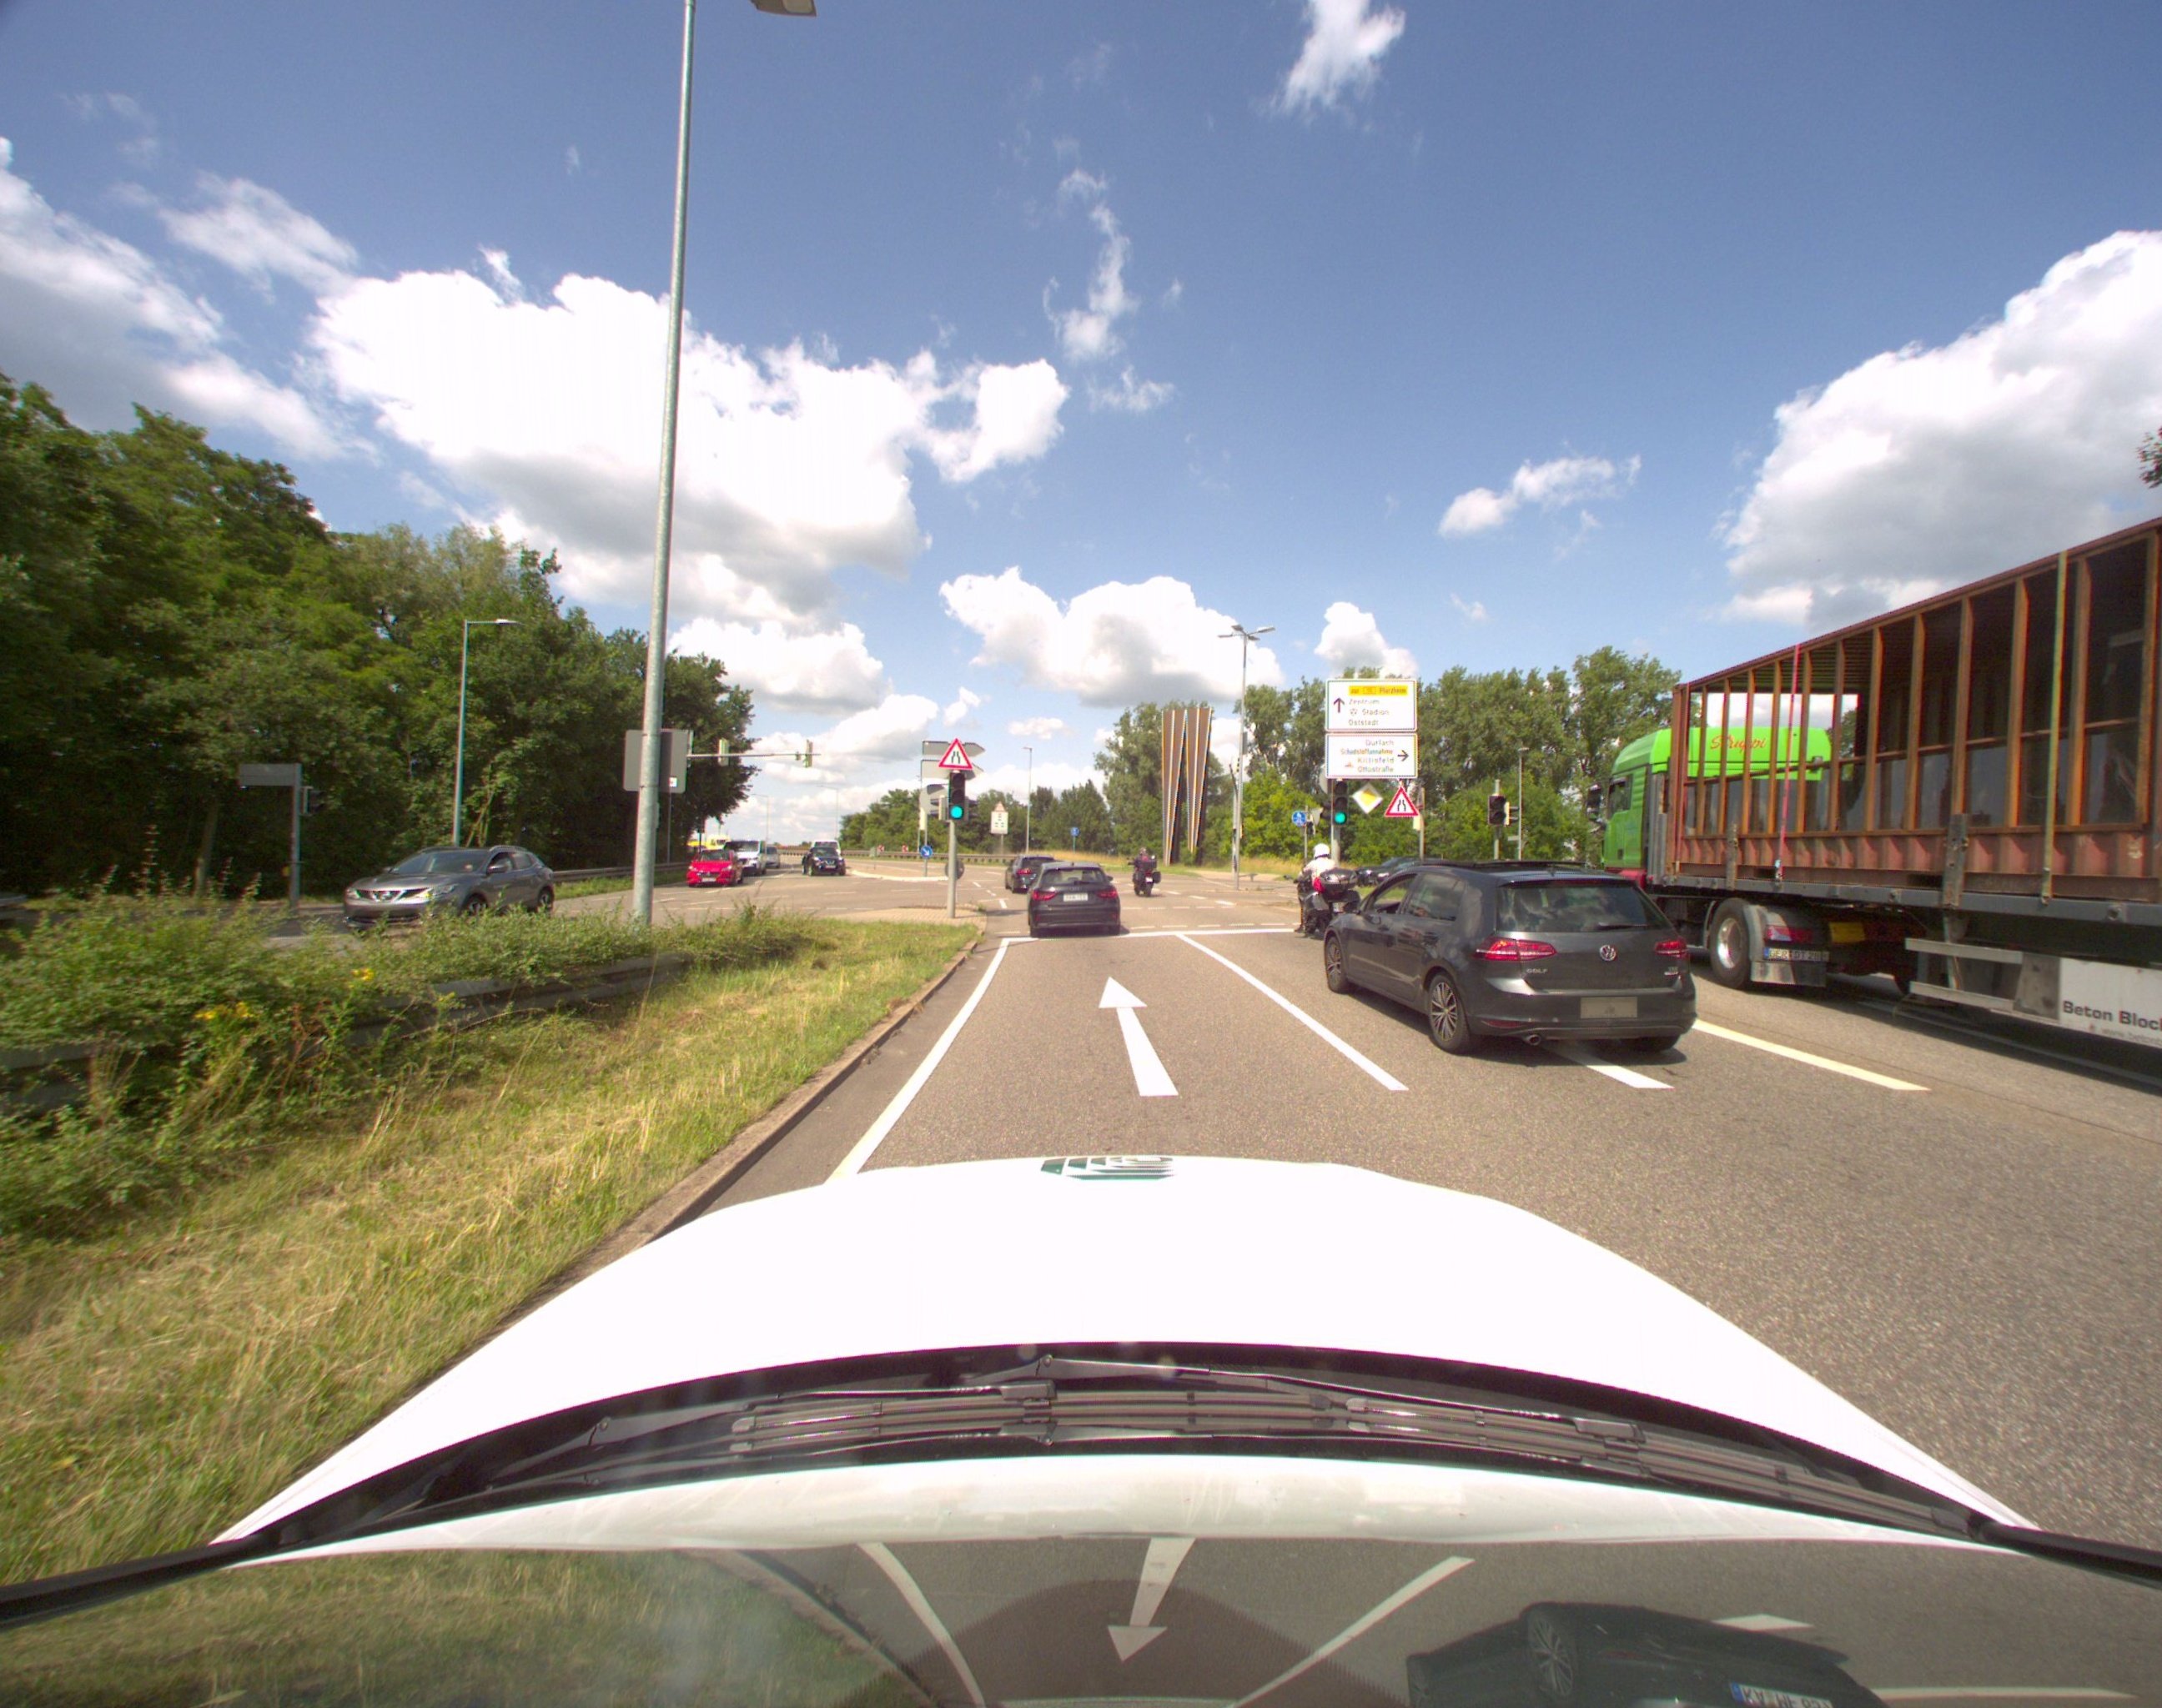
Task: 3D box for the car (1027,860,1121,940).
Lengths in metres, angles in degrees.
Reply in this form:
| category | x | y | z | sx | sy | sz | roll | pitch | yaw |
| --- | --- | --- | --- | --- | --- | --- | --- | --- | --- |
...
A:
| category | x | y | z | sx | sy | sz | roll | pitch | yaw |
| --- | --- | --- | --- | --- | --- | --- | --- | --- | --- |
| car | -0.199 | 0.846 | 16.595 | 1.678 | 1.388 | 3.735 | -1 | 0 | -3 |

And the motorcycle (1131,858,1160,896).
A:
| category | x | y | z | sx | sy | sz | roll | pitch | yaw |
| --- | --- | --- | --- | --- | --- | --- | --- | --- | --- |
| motorcycle | 2.198 | 0.760 | 28.092 | 0.884 | 1.247 | 2.401 | 1 | 0 | 2 |

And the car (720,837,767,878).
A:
| category | x | y | z | sx | sy | sz | roll | pitch | yaw |
| --- | --- | --- | --- | --- | --- | --- | --- | --- | --- |
| car | -17.866 | 0.192 | 43.258 | 2.000 | 2.013 | 5.101 | -1 | 0 | -20 |

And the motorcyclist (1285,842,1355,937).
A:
| category | x | y | z | sx | sy | sz | roll | pitch | yaw |
| --- | --- | --- | --- | --- | --- | --- | --- | --- | --- |
| motorcyclist | 4.252 | 0.606 | 14.575 | 0.962 | 1.620 | 1.125 | 1 | 0 | 2 |

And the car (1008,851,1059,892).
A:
| category | x | y | z | sx | sy | sz | roll | pitch | yaw |
| --- | --- | --- | --- | --- | --- | --- | --- | --- | --- |
| car | -1.747 | 0.629 | 30.978 | 1.636 | 1.479 | 3.873 | 0 | 0 | 1 |

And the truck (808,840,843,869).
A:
| category | x | y | z | sx | sy | sz | roll | pitch | yaw |
| --- | --- | --- | --- | --- | --- | --- | --- | --- | --- |
| truck | -17.395 | -0.003 | 55.267 | 1.967 | 1.913 | 5.333 | 0 | 1 | -21 |

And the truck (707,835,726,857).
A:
| category | x | y | z | sx | sy | sz | roll | pitch | yaw |
| --- | --- | --- | --- | --- | --- | --- | --- | --- | --- |
| truck | -45.183 | -1.060 | 101.028 | 2.002 | 2.620 | 6.058 | -2 | 2 | -23 |

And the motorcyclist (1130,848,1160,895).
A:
| category | x | y | z | sx | sy | sz | roll | pitch | yaw |
| --- | --- | --- | --- | --- | --- | --- | --- | --- | --- |
| motorcyclist | 2.206 | 0.600 | 28.117 | 0.962 | 1.596 | 1.125 | 1 | 0 | 2 |

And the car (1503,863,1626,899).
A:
| category | x | y | z | sx | sy | sz | roll | pitch | yaw |
| --- | --- | --- | --- | --- | --- | --- | --- | --- | --- |
| car | 21.427 | 1.186 | 36.200 | 4.513 | 1.375 | 1.646 | 2 | 1 | 0 |

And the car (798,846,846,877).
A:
| category | x | y | z | sx | sy | sz | roll | pitch | yaw |
| --- | --- | --- | --- | --- | --- | --- | --- | --- | --- |
| car | -13.785 | 0.353 | 43.280 | 1.708 | 1.557 | 3.786 | 0 | 1 | -29 |

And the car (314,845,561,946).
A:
| category | x | y | z | sx | sy | sz | roll | pitch | yaw |
| --- | --- | --- | --- | --- | --- | --- | --- | --- | --- |
| car | -11.705 | 0.660 | 15.244 | 1.710 | 1.586 | 4.268 | -1 | 0 | -9 |

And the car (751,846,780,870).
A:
| category | x | y | z | sx | sy | sz | roll | pitch | yaw |
| --- | --- | --- | --- | --- | --- | --- | --- | --- | --- |
| car | -21.455 | 0.228 | 55.557 | 1.739 | 1.521 | 4.040 | -2 | 1 | -20 |

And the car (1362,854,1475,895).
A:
| category | x | y | z | sx | sy | sz | roll | pitch | yaw |
| --- | --- | --- | --- | --- | --- | --- | --- | --- | --- |
| car | 14.958 | 0.892 | 36.207 | 4.267 | 1.617 | 1.844 | 2 | -1 | 0 |

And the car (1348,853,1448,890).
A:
| category | x | y | z | sx | sy | sz | roll | pitch | yaw |
| --- | --- | --- | --- | --- | --- | --- | --- | --- | --- |
| car | 15.520 | 0.841 | 40.022 | 4.188 | 1.645 | 1.837 | 2 | 1 | 0 |

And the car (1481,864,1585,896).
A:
| category | x | y | z | sx | sy | sz | roll | pitch | yaw |
| --- | --- | --- | --- | --- | --- | --- | --- | --- | --- |
| car | 22.161 | 1.262 | 40.004 | 4.188 | 1.375 | 1.646 | 2 | 1 | 0 |

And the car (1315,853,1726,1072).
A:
| category | x | y | z | sx | sy | sz | roll | pitch | yaw |
| --- | --- | --- | --- | --- | --- | --- | --- | --- | --- |
| car | 3.556 | 0.740 | 7.476 | 1.638 | 1.479 | 3.870 | 0 | 0 | -1 |

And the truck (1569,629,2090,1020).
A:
| category | x | y | z | sx | sy | sz | roll | pitch | yaw |
| --- | --- | --- | --- | --- | --- | --- | --- | --- | --- |
| truck | 9.374 | -0.325 | 11.313 | 2.847 | 3.903 | 5.901 | 3 | 0 | 15 |

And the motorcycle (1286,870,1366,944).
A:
| category | x | y | z | sx | sy | sz | roll | pitch | yaw |
| --- | --- | --- | --- | --- | --- | --- | --- | --- | --- |
| motorcycle | 4.262 | 0.877 | 14.366 | 0.786 | 1.132 | 2.401 | 1 | 0 | 2 |

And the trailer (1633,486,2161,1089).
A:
| category | x | y | z | sx | sy | sz | roll | pitch | yaw |
| --- | --- | --- | --- | --- | --- | --- | --- | --- | --- |
| trailer | 8.182 | -0.396 | 4.692 | 2.623 | 3.891 | 13.883 | 3 | 0 | 9 |

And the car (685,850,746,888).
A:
| category | x | y | z | sx | sy | sz | roll | pitch | yaw |
| --- | --- | --- | --- | --- | --- | --- | --- | --- | --- |
| car | -14.747 | 0.575 | 33.026 | 1.584 | 1.432 | 3.980 | -1 | 0 | -14 |
